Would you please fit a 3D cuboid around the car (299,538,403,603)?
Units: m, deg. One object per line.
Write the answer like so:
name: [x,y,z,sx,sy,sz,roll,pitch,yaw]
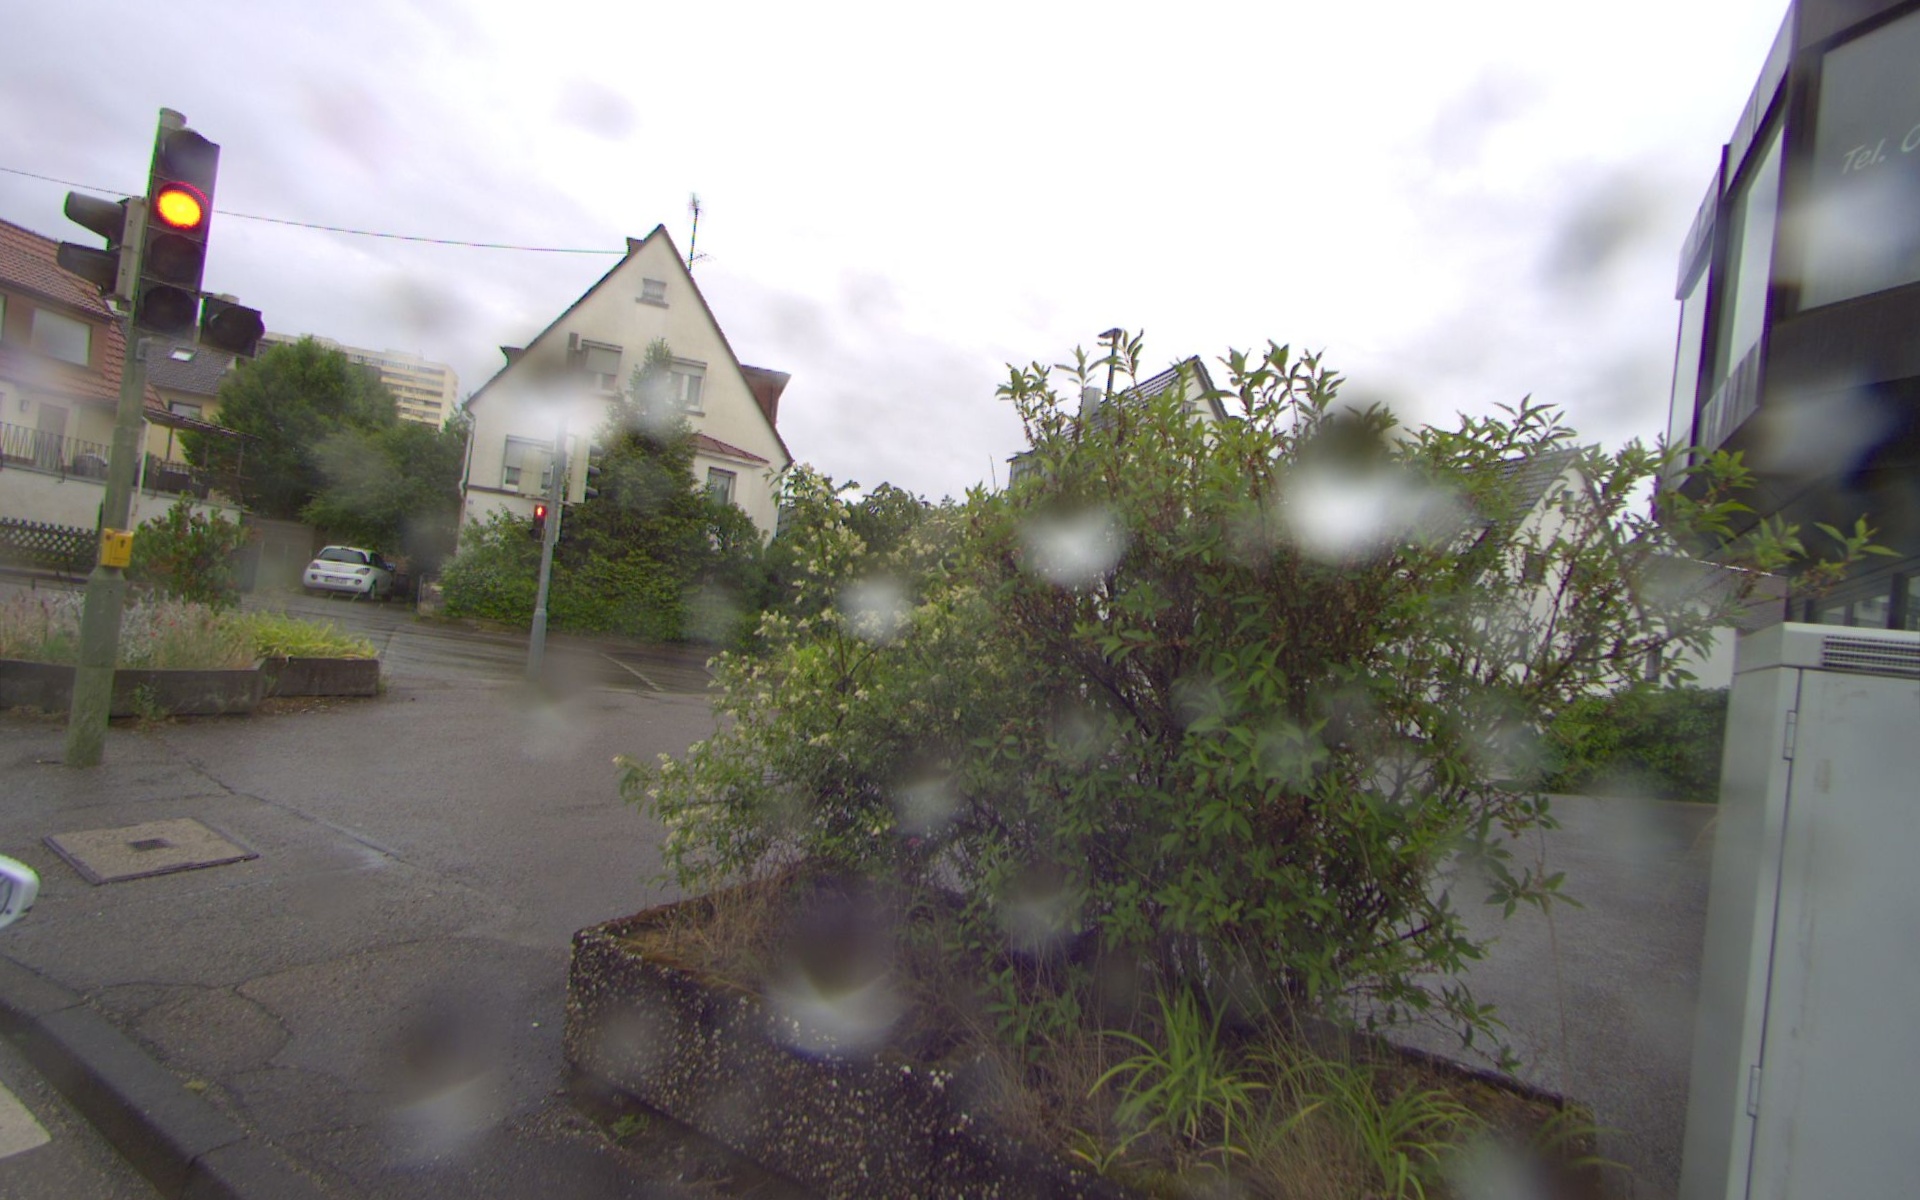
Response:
car: [-17.672,-0.829,29.362,1.722,1.532,3.982,9,-2,-21]
